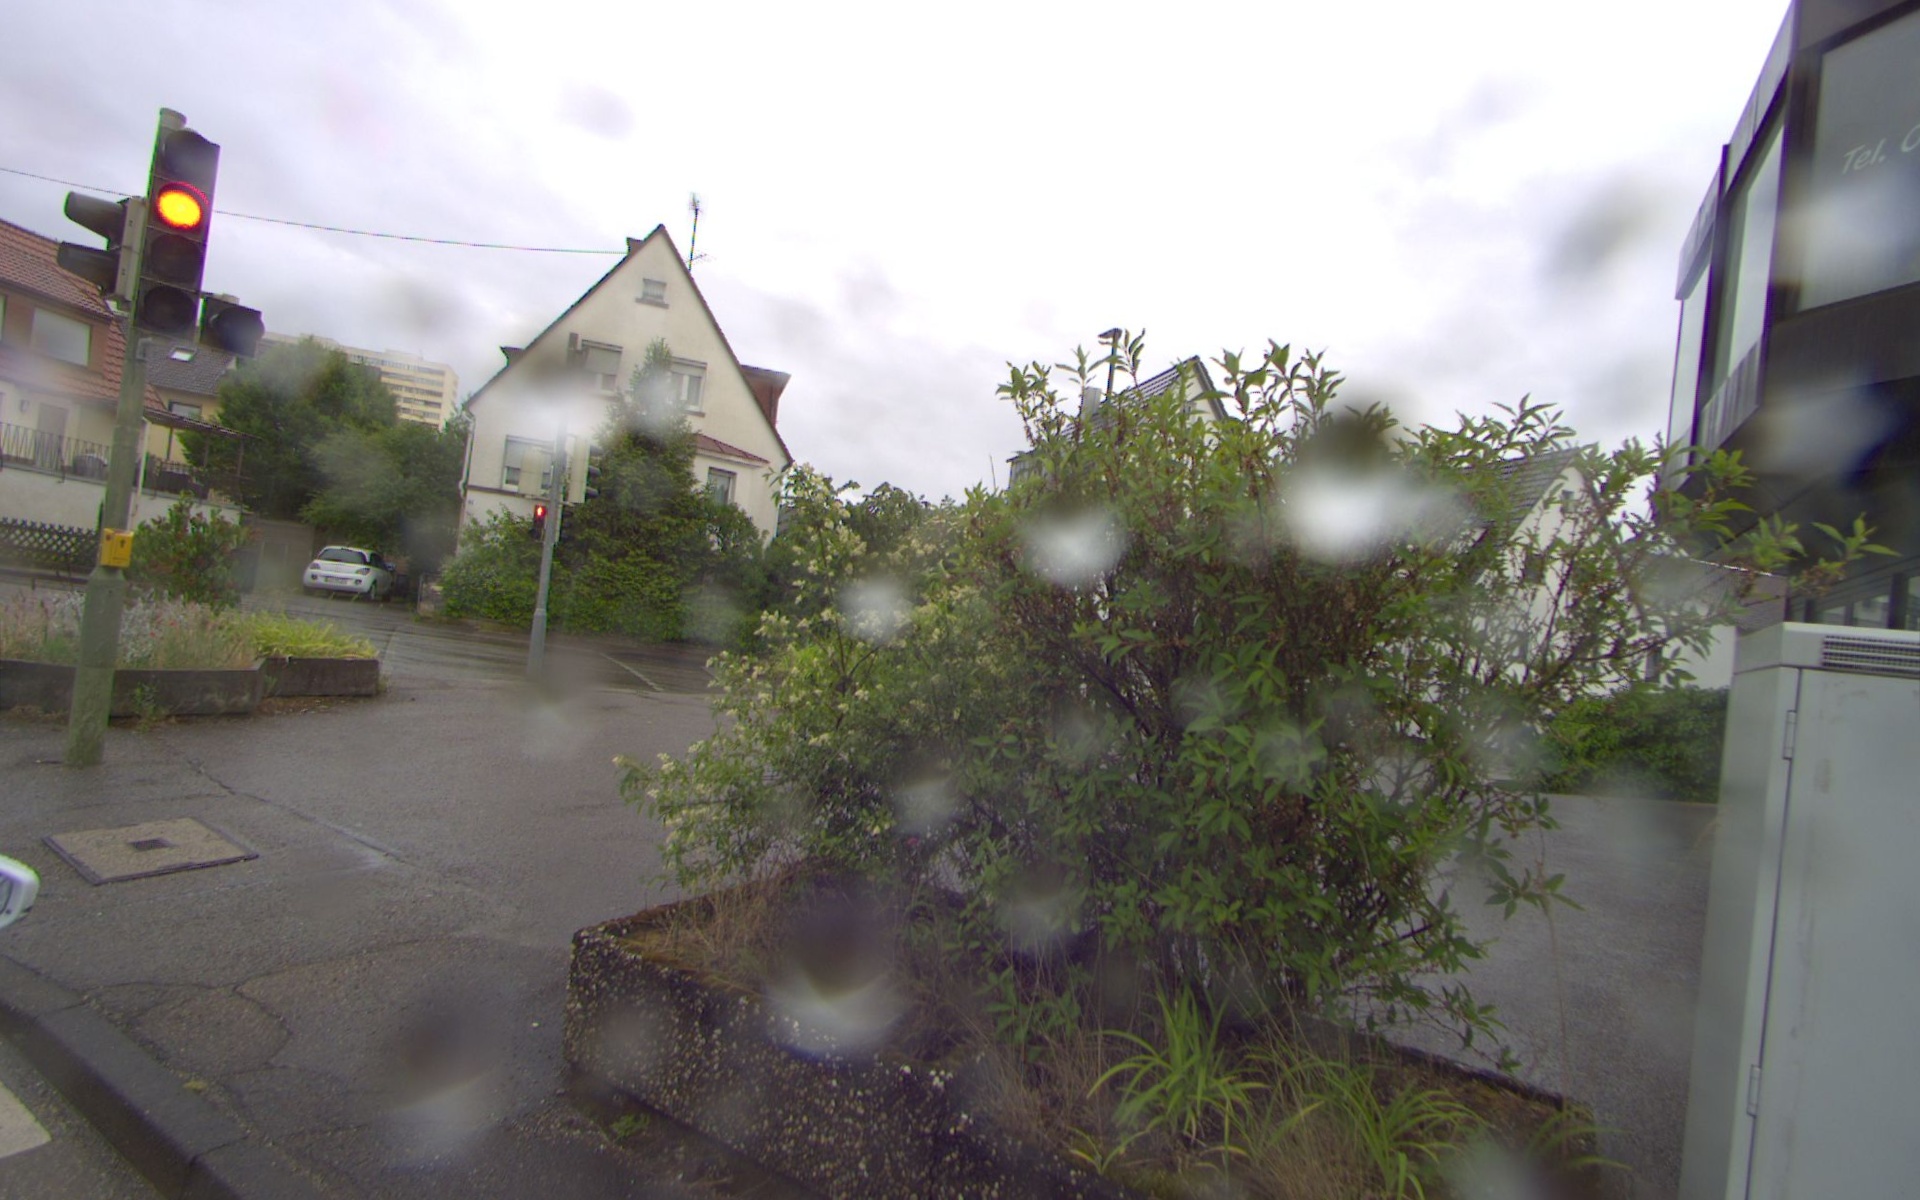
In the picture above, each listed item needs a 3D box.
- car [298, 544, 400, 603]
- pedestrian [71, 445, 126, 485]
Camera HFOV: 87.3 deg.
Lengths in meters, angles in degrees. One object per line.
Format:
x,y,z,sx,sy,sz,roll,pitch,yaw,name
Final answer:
-17.752,-0.742,29.410,1.794,1.378,3.981,8,-2,-22,car
-24.268,-3.798,28.360,0.623,0.893,0.920,5,-2,13,pedestrian
